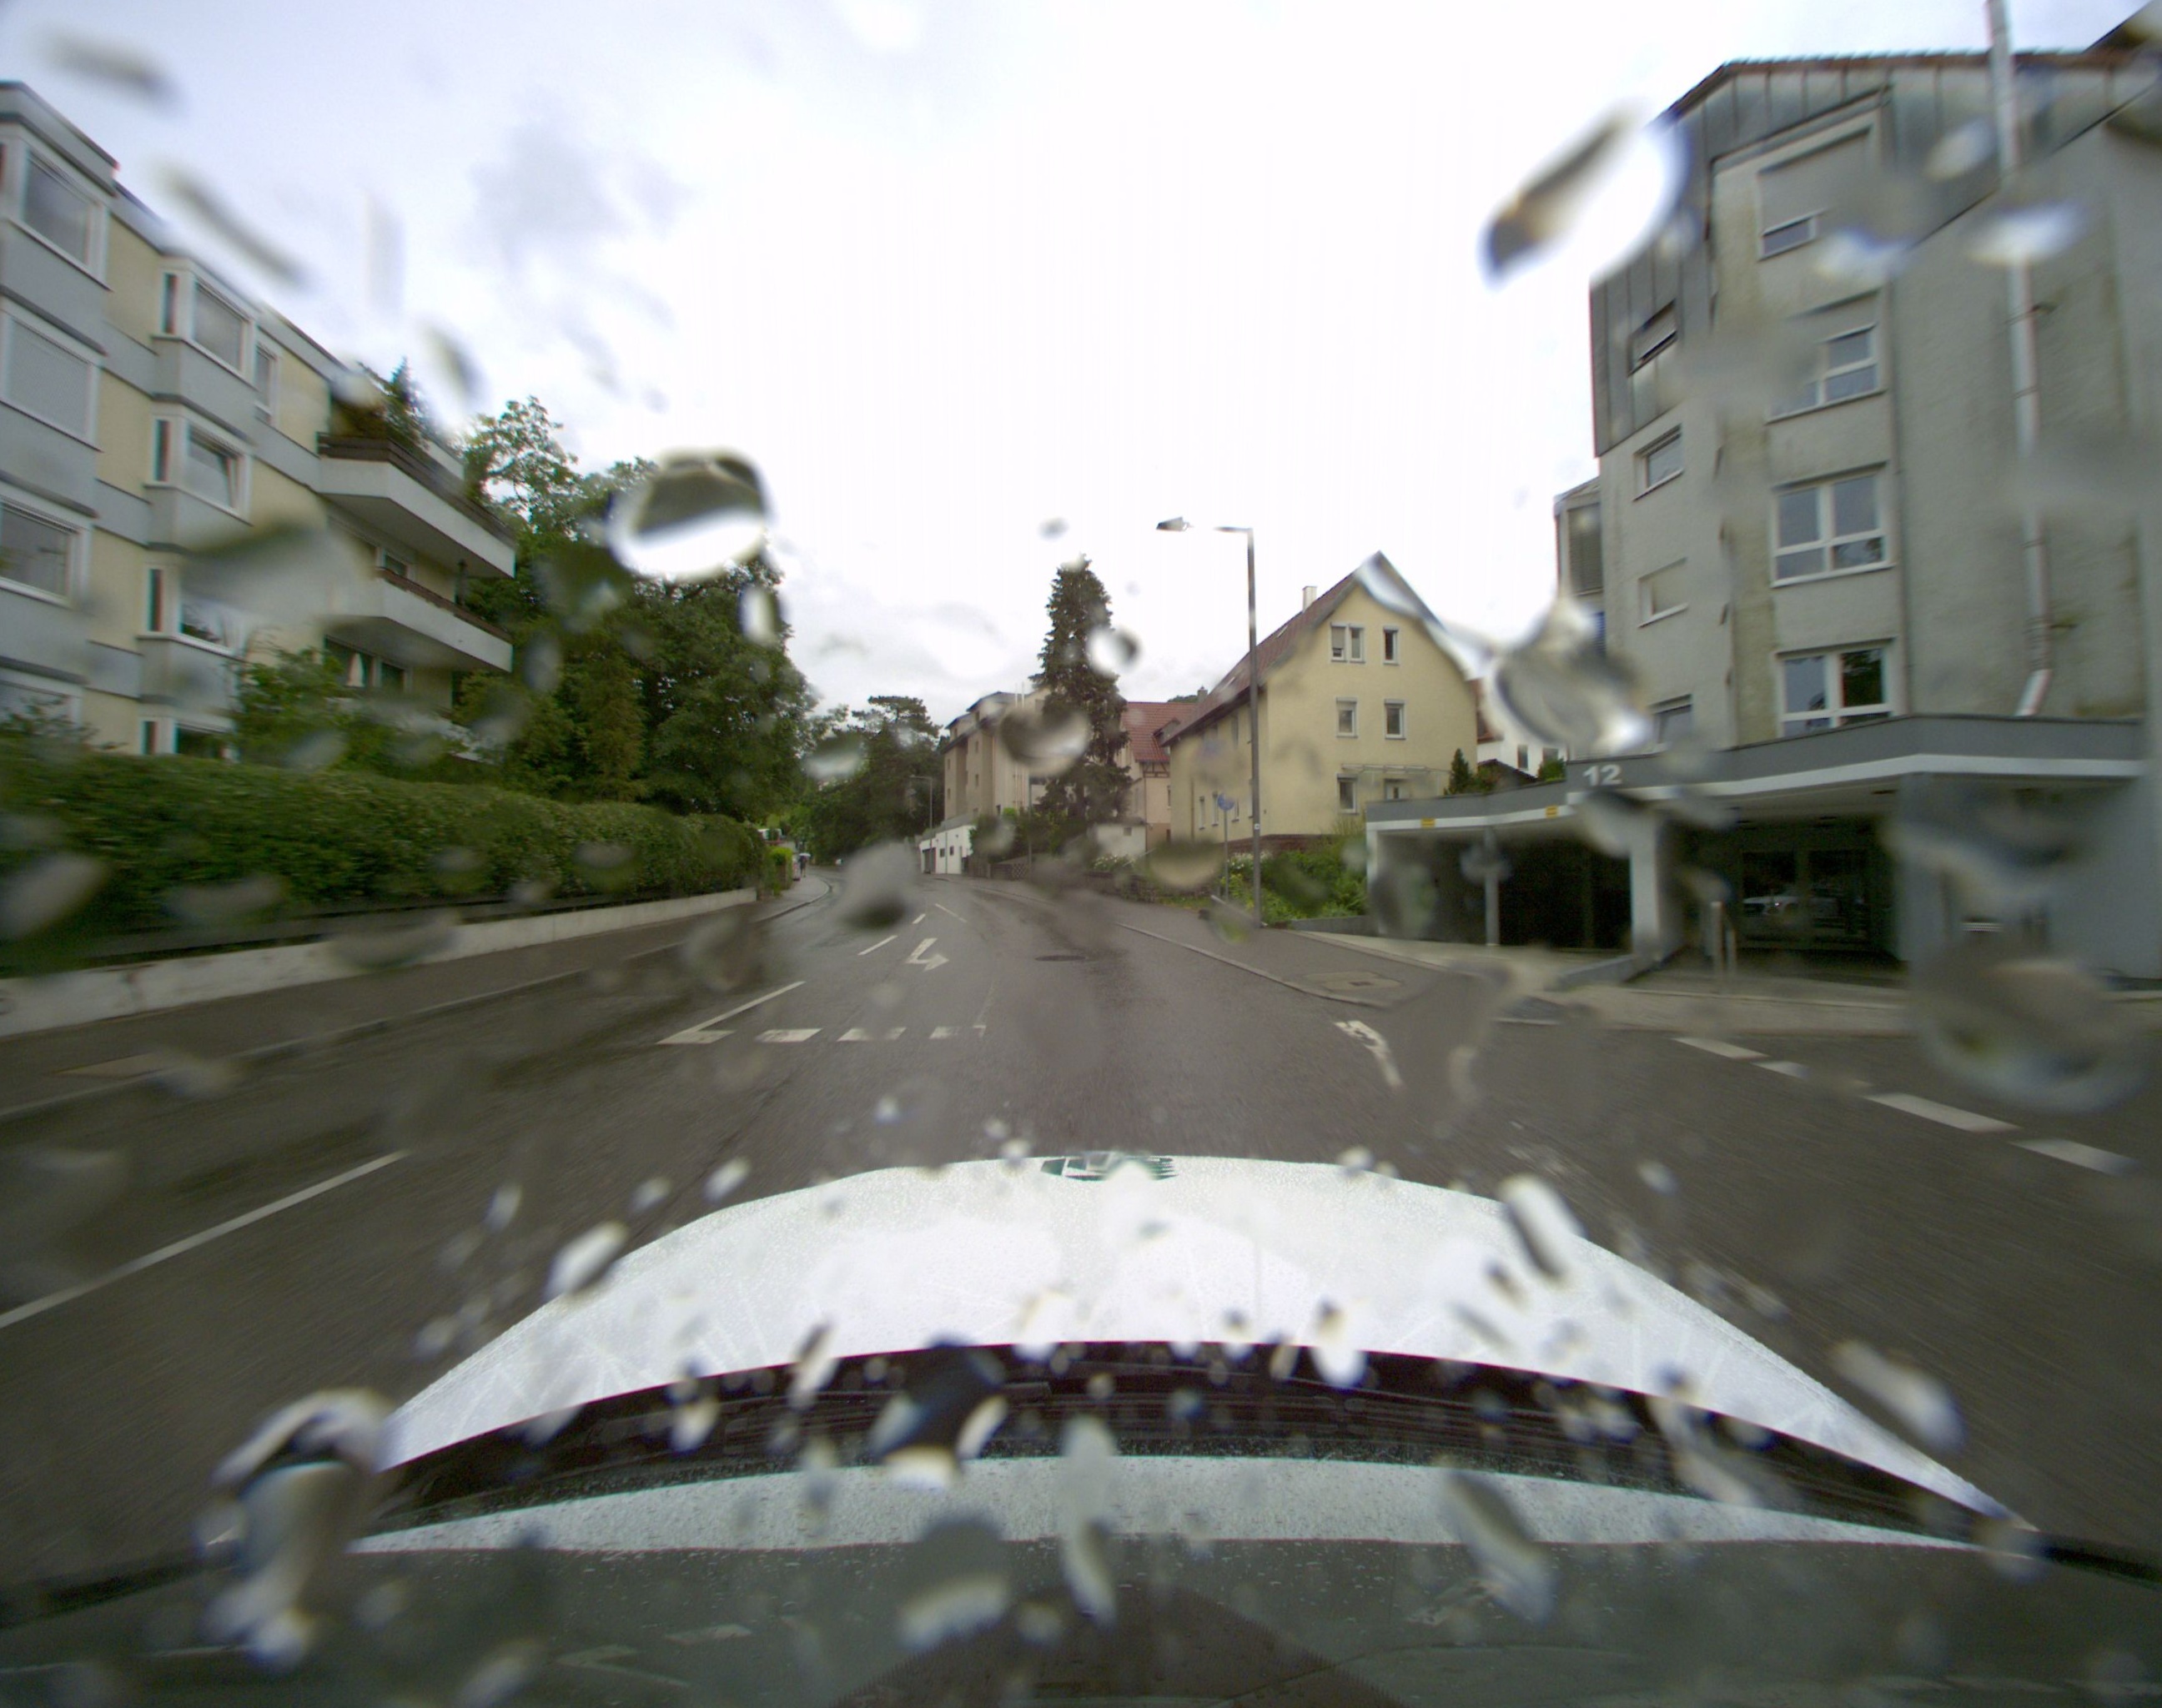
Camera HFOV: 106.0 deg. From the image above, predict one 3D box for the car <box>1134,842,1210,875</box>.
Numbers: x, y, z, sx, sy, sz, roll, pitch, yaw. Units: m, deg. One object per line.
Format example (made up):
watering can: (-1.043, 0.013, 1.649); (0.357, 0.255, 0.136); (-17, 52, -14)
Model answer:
car: (5.169, 0.233, 46.628); (3.856, 1.653, 1.955); (-3, 0, -12)

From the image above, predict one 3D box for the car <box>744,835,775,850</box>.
car: (-59.615, -2.140, 151.055); (4.979, 2.569, 1.884); (-2, 1, -34)

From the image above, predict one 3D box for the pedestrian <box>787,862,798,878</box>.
pedestrian: (-22.507, 1.256, 63.555); (0.758, 1.180, 1.032); (3, -2, -21)

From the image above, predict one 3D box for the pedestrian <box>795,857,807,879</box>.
pedestrian: (-21.442, 1.103, 62.397); (0.758, 1.644, 1.032); (4, -2, -21)

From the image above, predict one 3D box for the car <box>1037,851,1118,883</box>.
car: (-0.237, 0.700, 45.625); (4.316, 1.653, 1.957); (-1, 0, -9)

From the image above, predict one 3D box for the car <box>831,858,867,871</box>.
car: (-30.075, 1.328, 105.565); (4.170, 1.476, 1.886); (-2, 1, -30)
